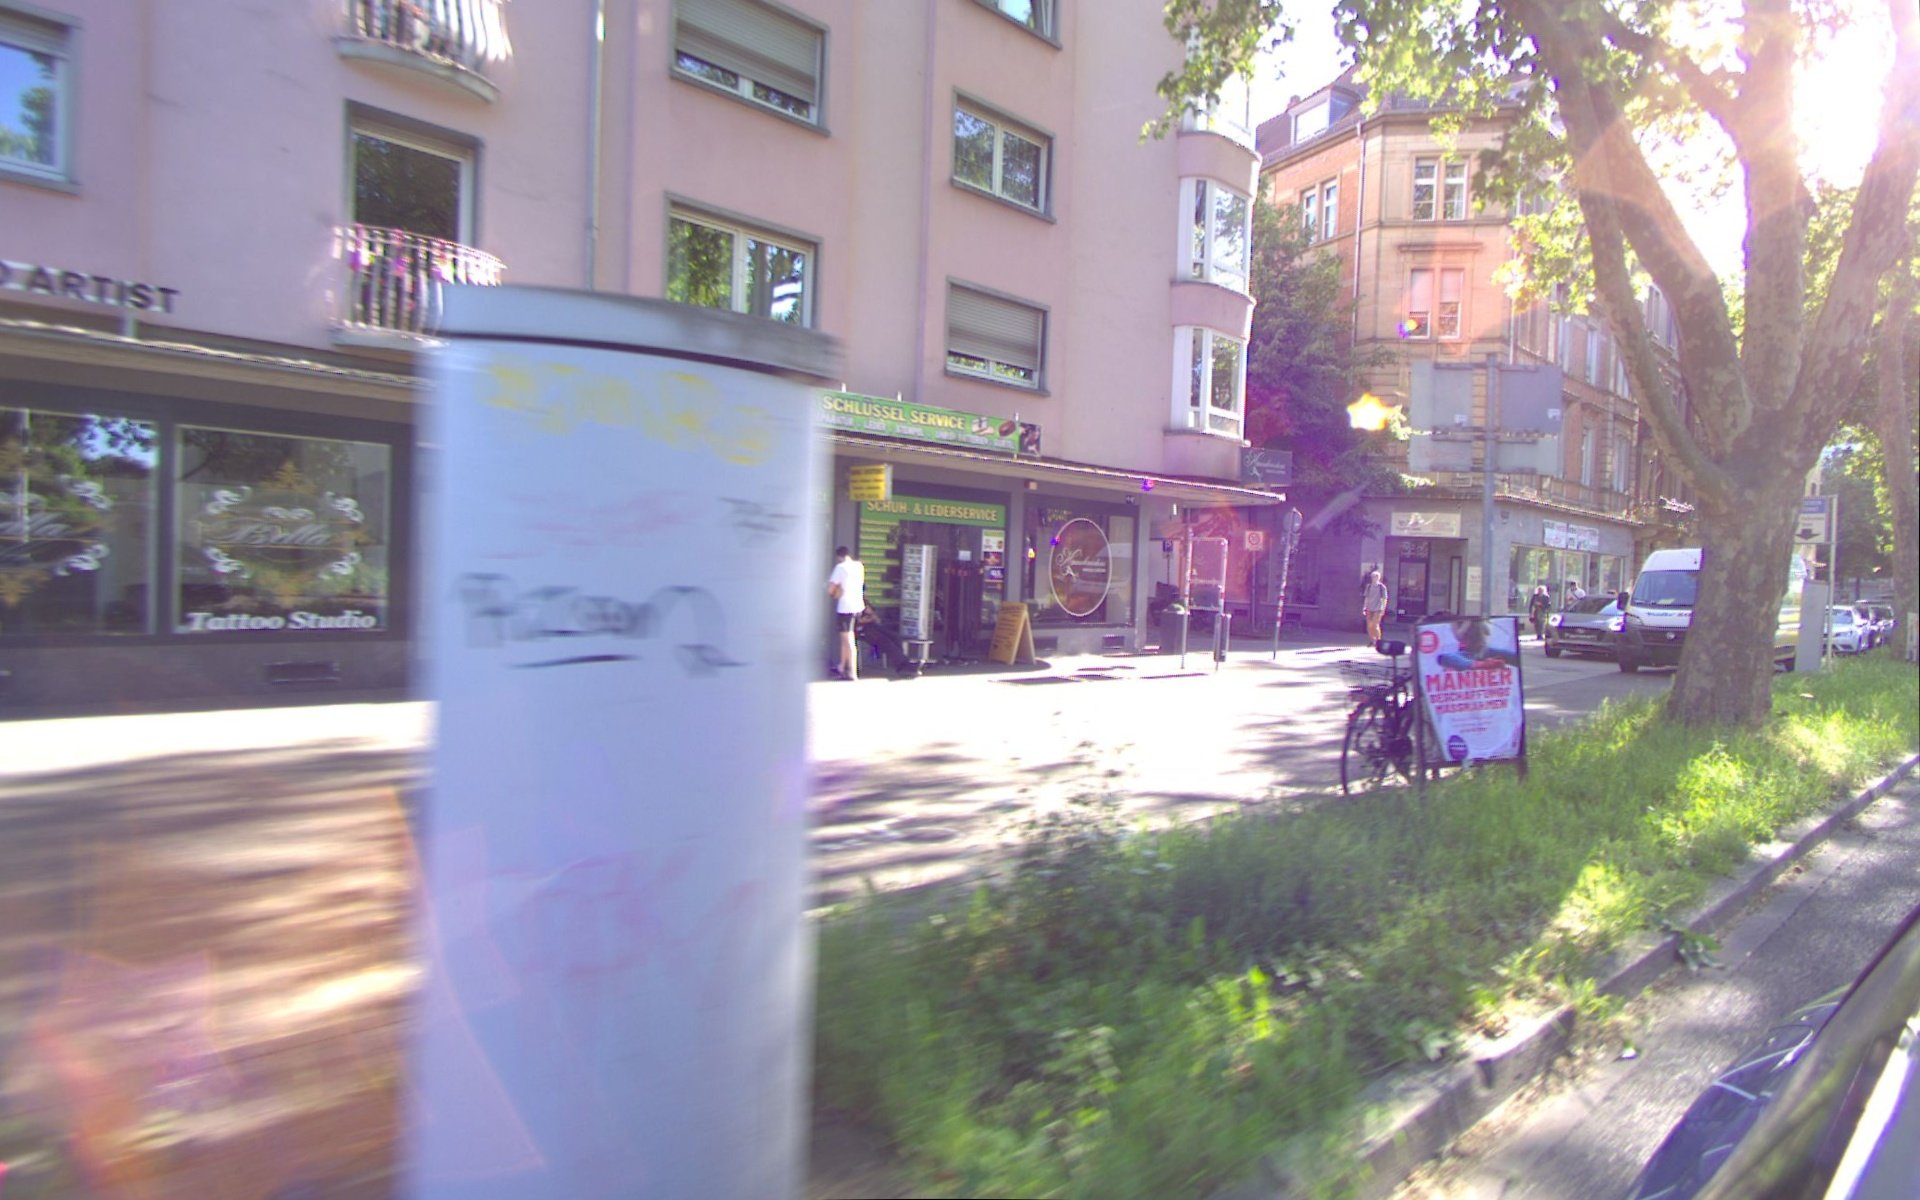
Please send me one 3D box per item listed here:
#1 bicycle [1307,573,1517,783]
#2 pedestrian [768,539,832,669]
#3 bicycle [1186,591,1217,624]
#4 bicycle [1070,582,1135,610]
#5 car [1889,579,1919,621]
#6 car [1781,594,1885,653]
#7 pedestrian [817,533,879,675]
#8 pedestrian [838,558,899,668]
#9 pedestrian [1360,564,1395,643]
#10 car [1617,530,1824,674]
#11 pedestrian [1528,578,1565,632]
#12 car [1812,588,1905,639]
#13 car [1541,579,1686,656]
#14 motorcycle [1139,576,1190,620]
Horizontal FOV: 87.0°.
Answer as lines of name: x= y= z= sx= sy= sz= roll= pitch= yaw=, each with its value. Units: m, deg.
bicycle: x=3.013 y=0.458 z=6.669 sx=1.718 sy=1.229 sz=0.466 roll=1 pitch=2 yaw=-38
pedestrian: x=-2.156 y=0.040 z=13.620 sx=0.502 sy=1.670 sz=0.685 roll=1 pitch=4 yaw=-40
bicycle: x=7.782 y=0.224 z=32.543 sx=0.537 sy=1.018 sz=1.887 roll=2 pitch=2 yaw=26
bicycle: x=5.315 y=-0.148 z=37.852 sx=2.330 sy=0.959 sz=0.530 roll=2 pitch=1 yaw=6
car: x=42.271 y=0.001 z=44.463 sx=3.858 sy=1.764 sz=1.713 roll=0 pitch=1 yaw=-41
car: x=24.908 y=0.625 z=28.837 sx=4.116 sy=1.531 sz=1.648 roll=0 pitch=1 yaw=-41
pedestrian: x=-1.441 y=0.047 z=13.050 sx=0.571 sy=1.775 sz=0.418 roll=1 pitch=4 yaw=-41
pedestrian: x=-1.287 y=0.171 z=14.229 sx=0.507 sy=1.488 sz=0.698 roll=1 pitch=2 yaw=-40
pedestrian: x=9.996 y=0.068 z=24.245 sx=0.611 sy=1.838 sz=0.623 roll=3 pitch=1 yaw=34
car: x=15.133 y=0.013 z=19.984 sx=5.753 sy=2.464 sz=2.078 roll=0 pitch=1 yaw=-41
pedestrian: x=17.685 y=0.132 z=30.514 sx=0.718 sy=1.585 sz=0.738 roll=1 pitch=2 yaw=-41
car: x=29.190 y=0.413 z=32.845 sx=3.931 sy=1.482 sz=1.751 roll=0 pitch=2 yaw=-42
car: x=15.538 y=0.367 z=23.994 sx=4.064 sy=1.621 sz=1.814 roll=0 pitch=2 yaw=-41
motorcycle: x=7.094 y=-0.111 z=34.929 sx=0.958 sy=1.418 sz=3.172 roll=2 pitch=2 yaw=26
